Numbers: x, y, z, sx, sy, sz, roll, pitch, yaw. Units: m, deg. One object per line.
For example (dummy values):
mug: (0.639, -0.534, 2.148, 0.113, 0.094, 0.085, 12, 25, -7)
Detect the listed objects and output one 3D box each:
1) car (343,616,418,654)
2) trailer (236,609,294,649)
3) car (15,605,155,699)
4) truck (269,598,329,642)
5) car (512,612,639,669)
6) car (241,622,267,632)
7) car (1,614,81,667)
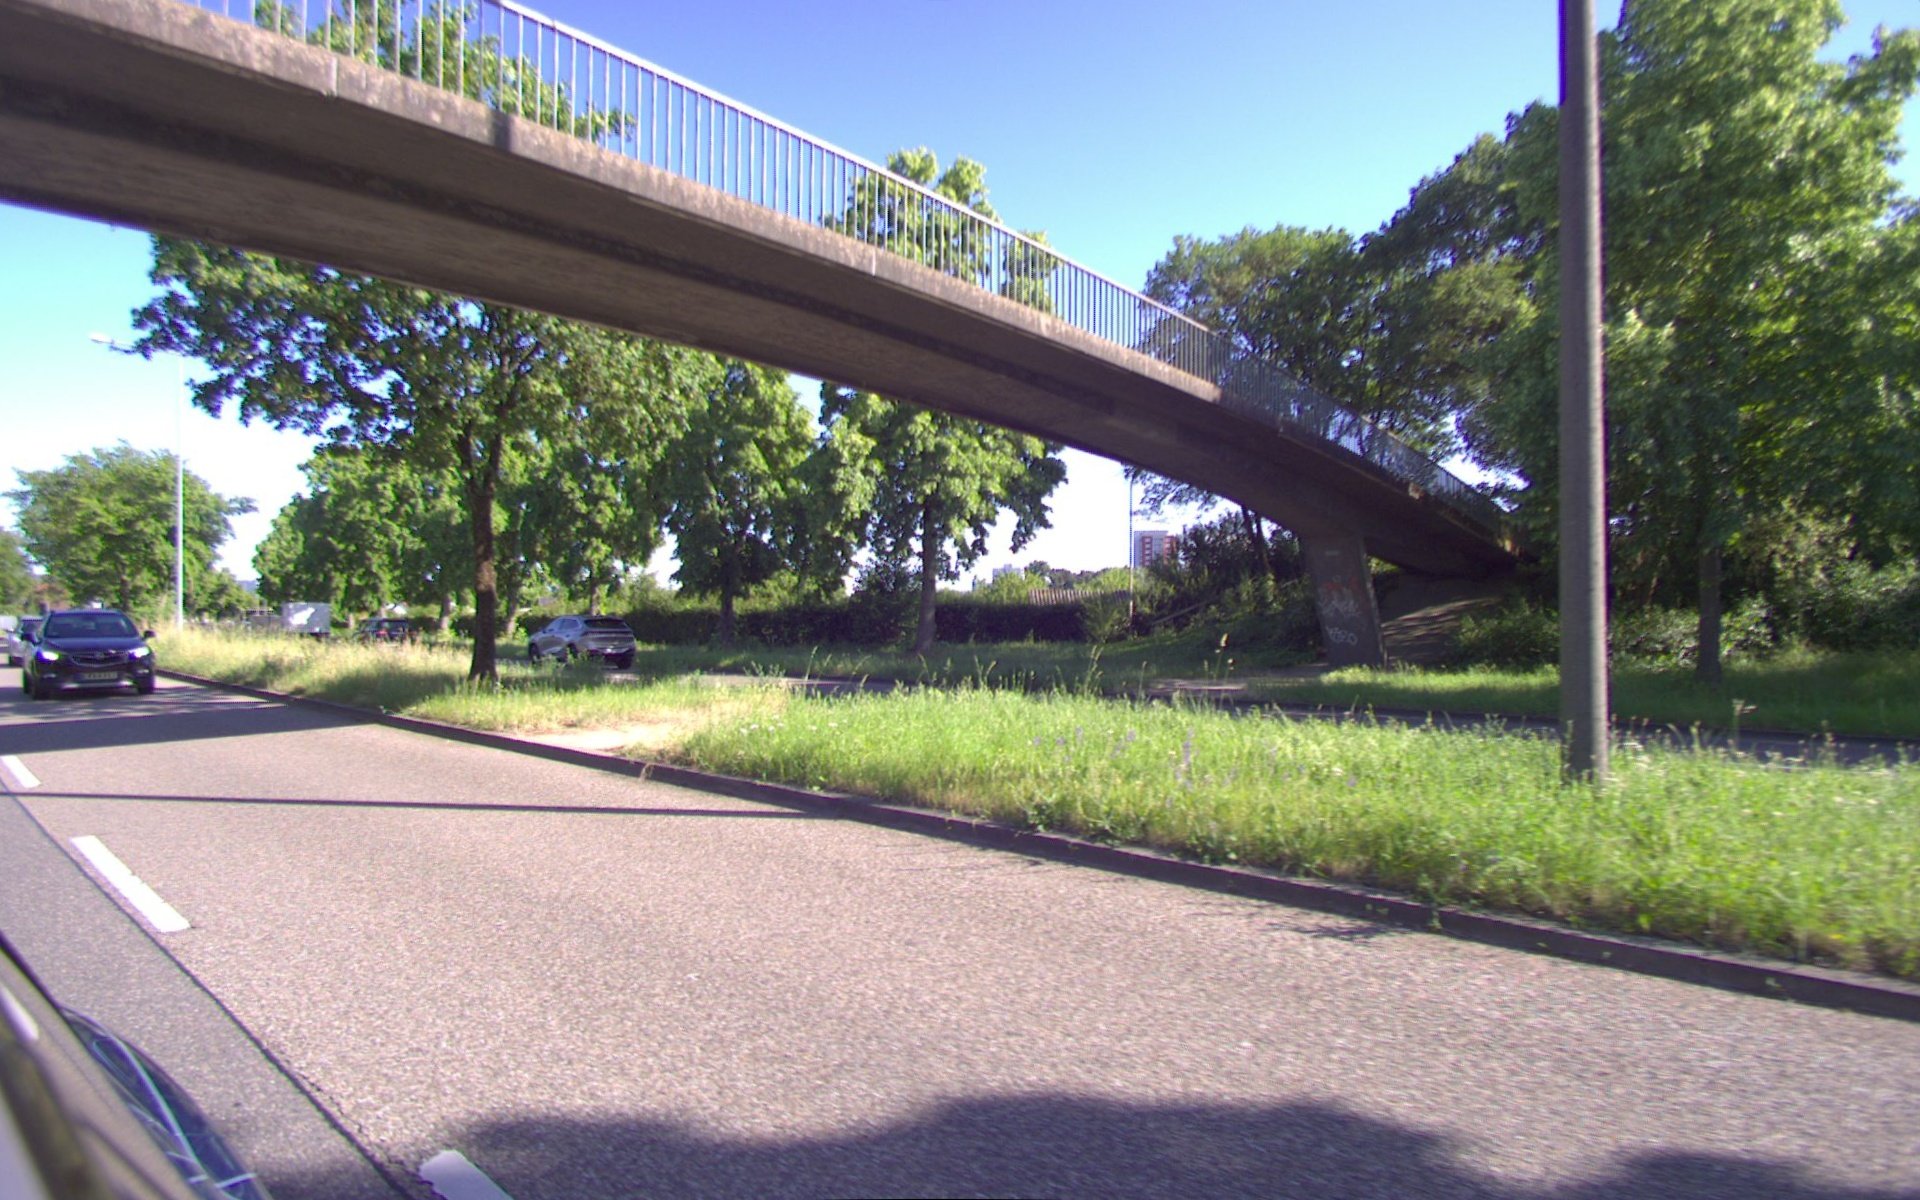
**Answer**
car: (-26.314, 1.564, 45.871, 4.579, 1.632, 1.730, -1, -1, 43)
trailer: (-34.938, 1.426, 50.806, 4.283, 1.924, 1.545, -1, -1, 43)
car: (-17.162, 0.920, 19.761, 1.785, 1.627, 4.517, 0, -1, -45)
truck: (-39.998, 1.228, 61.191, 2.146, 2.532, 5.749, 3, -3, -41)
car: (-12.167, 1.232, 31.843, 4.900, 1.659, 1.713, -1, -3, 43)
car: (-108.358, 4.143, 155.441, 1.669, 1.447, 4.954, 2, -2, -16)
car: (-29.757, 1.284, 32.806, 1.797, 1.574, 4.652, 0, -1, -42)
